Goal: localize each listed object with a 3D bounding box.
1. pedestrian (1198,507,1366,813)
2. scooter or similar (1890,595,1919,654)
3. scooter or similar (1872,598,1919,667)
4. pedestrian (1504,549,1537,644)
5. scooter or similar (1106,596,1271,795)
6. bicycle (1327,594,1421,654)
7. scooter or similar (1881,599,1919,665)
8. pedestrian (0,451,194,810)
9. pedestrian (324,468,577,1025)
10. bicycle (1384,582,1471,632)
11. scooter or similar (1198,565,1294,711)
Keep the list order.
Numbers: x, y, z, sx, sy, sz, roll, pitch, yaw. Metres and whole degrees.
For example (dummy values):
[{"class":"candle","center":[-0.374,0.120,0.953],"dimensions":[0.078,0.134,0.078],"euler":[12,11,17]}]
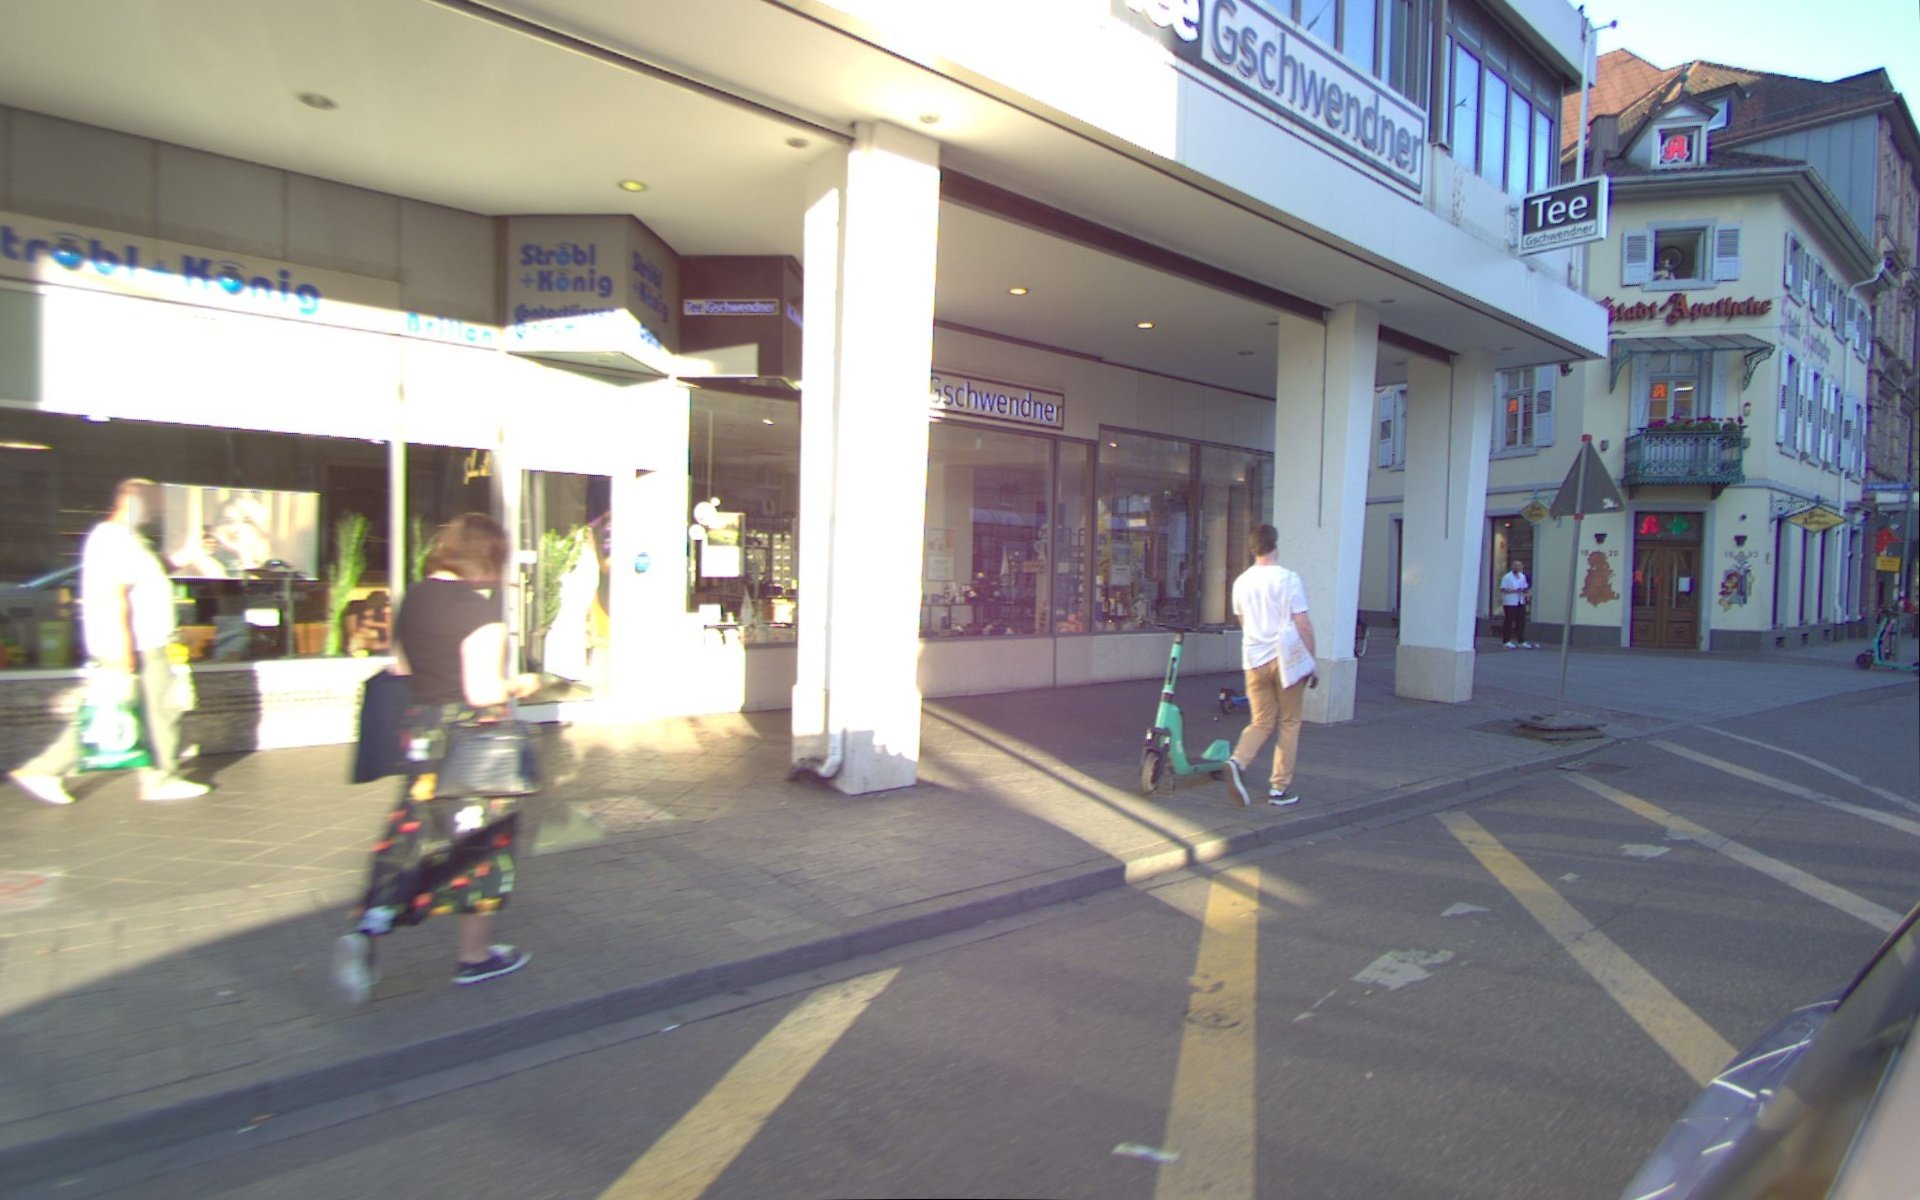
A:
[{"class":"pedestrian","center":[2.106,0.355,6.629],"dimensions":[0.837,1.838,0.701],"euler":[0,0,-39]},{"class":"scooter or similar","center":[21.068,0.532,22.521],"dimensions":[1.283,1.249,0.272],"euler":[0,3,-37]},{"class":"scooter or similar","center":[18.073,0.626,19.118],"dimensions":[0.310,1.249,1.182],"euler":[1,3,-24]},{"class":"pedestrian","center":[12.292,-0.089,22.216],"dimensions":[0.538,2.038,0.639],"euler":[2,1,26]},{"class":"scooter or similar","center":[1.603,0.610,7.031],"dimensions":[1.159,1.250,0.506],"euler":[0,2,-41]},{"class":"bicycle","center":[7.659,0.451,18.698],"dimensions":[1.812,1.042,0.771],"euler":[2,-1,-37]},{"class":"scooter or similar","center":[18.580,0.626,19.582],"dimensions":[1.034,1.249,0.271],"euler":[2,2,19]},{"class":"pedestrian","center":[-4.756,0.151,5.596],"dimensions":[0.617,1.838,0.703],"euler":[0,0,-16]},{"class":"pedestrian","center":[-1.701,0.446,3.468],"dimensions":[0.687,1.714,0.542],"euler":[0,0,-16]},{"class":"bicycle","center":[11.505,0.168,24.936],"dimensions":[1.808,1.196,0.773],"euler":[0,0,-9]},{"class":"scooter or similar","center":[3.122,0.382,10.998],"dimensions":[1.292,1.507,0.314],"euler":[0,2,-41]}]
